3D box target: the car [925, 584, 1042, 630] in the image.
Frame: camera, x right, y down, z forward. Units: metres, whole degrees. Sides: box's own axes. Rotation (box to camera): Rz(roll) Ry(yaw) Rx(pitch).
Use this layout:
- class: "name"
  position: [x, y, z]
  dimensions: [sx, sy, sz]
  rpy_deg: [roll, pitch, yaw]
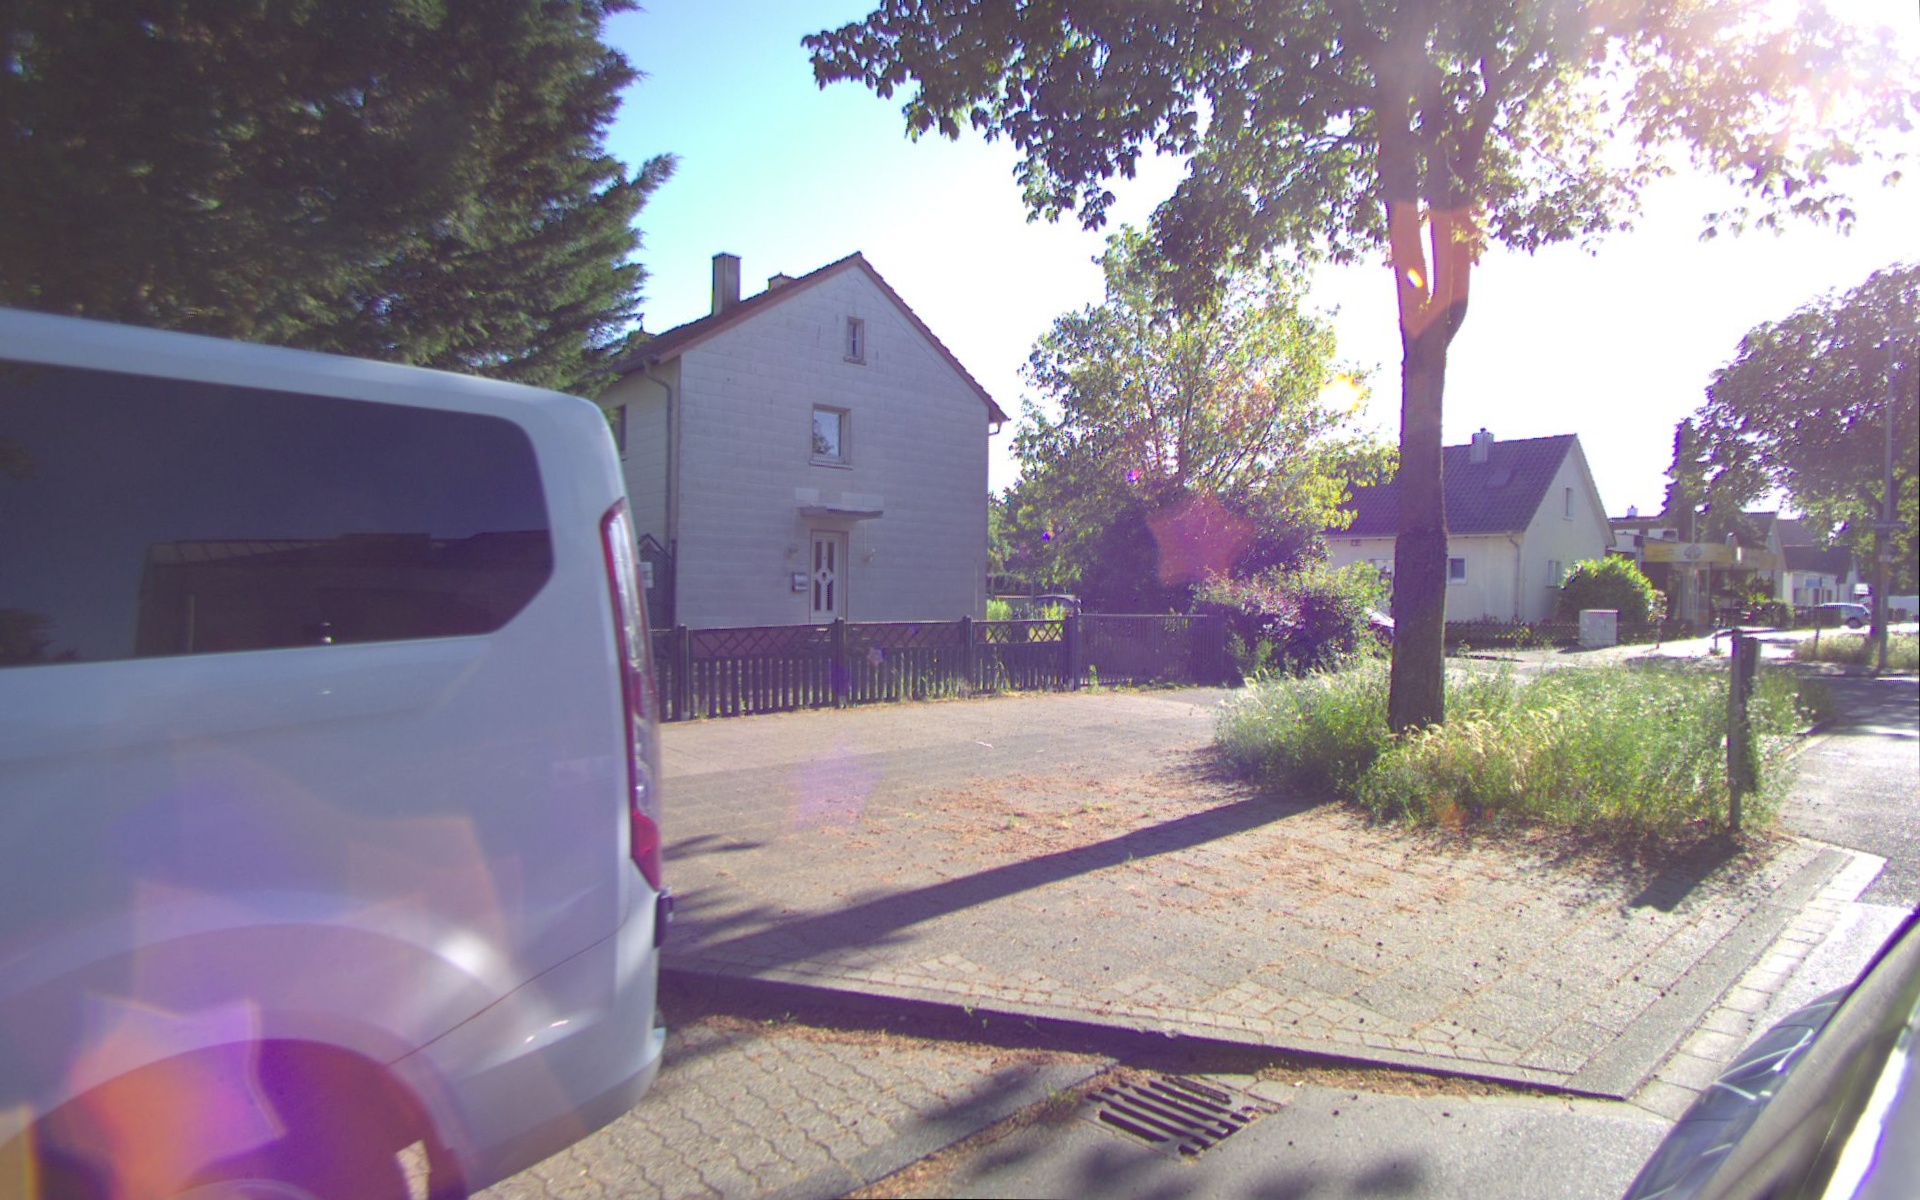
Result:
- class: "car"
  position: [0.768, 0.214, 36.122]
  dimensions: [1.854, 1.530, 4.309]
  rpy_deg: [1, 0, -39]

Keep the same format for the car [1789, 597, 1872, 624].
- class: "car"
  position: [51.995, 0.655, 60.480]
  dimensions: [1.668, 1.458, 3.613]
  rpy_deg: [0, -2, -44]

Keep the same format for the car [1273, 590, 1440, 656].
- class: "car"
  position: [9.852, 0.544, 25.280]
  dimensions: [1.613, 1.530, 3.542]
  rpy_deg: [2, -1, -45]

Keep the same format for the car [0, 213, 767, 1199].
- class: "car"
  position: [-2.998, 0.496, 1.315]
  dimensions: [5.109, 2.040, 1.995]
  rpy_deg: [0, -2, -43]
